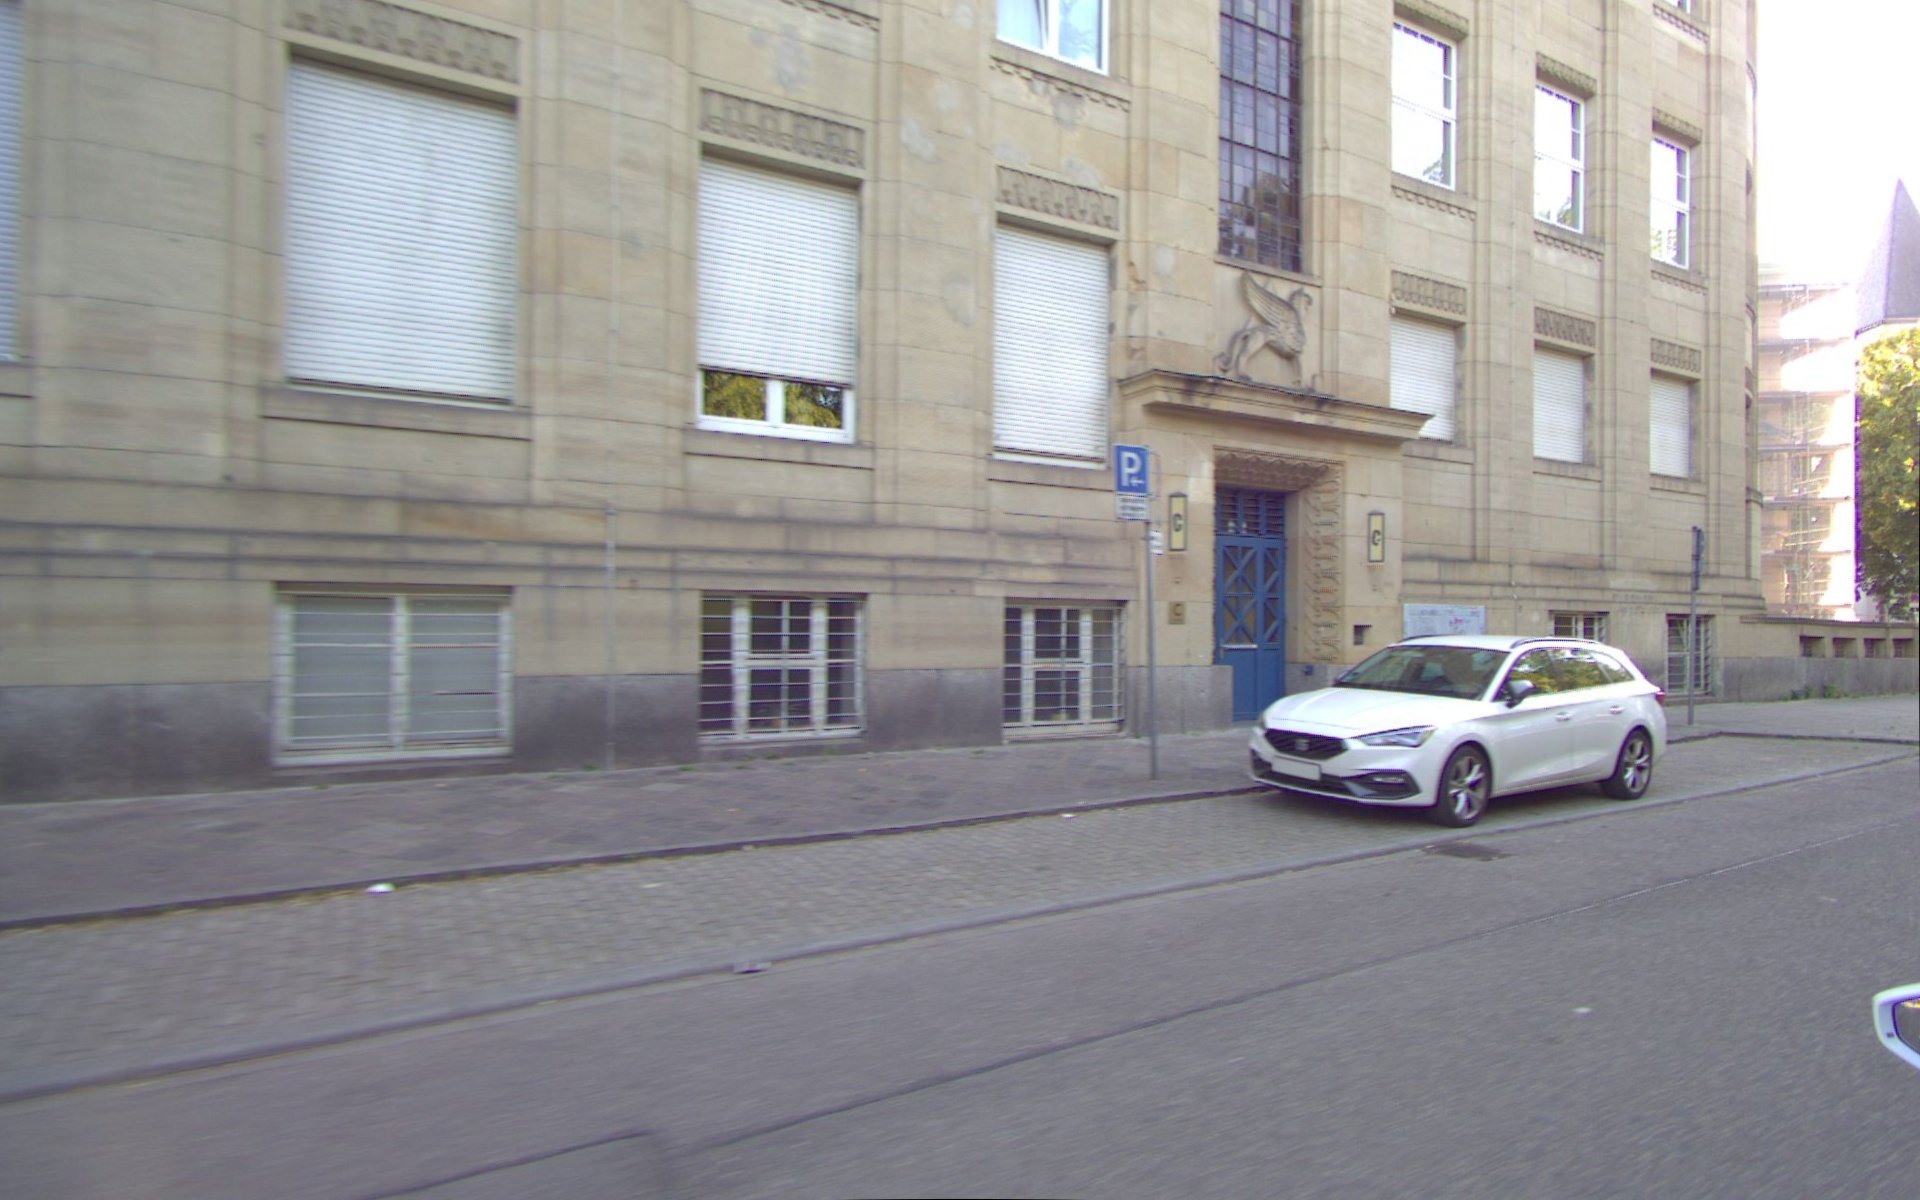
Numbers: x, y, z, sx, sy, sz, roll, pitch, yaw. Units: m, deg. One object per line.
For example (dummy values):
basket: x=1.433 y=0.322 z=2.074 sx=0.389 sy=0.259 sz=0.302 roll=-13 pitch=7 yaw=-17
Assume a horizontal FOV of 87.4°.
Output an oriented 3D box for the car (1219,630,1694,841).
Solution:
car: x=4.573 y=1.016 z=9.036 sx=4.510 sy=1.454 sz=1.734 roll=1 pitch=-1 yaw=-32
